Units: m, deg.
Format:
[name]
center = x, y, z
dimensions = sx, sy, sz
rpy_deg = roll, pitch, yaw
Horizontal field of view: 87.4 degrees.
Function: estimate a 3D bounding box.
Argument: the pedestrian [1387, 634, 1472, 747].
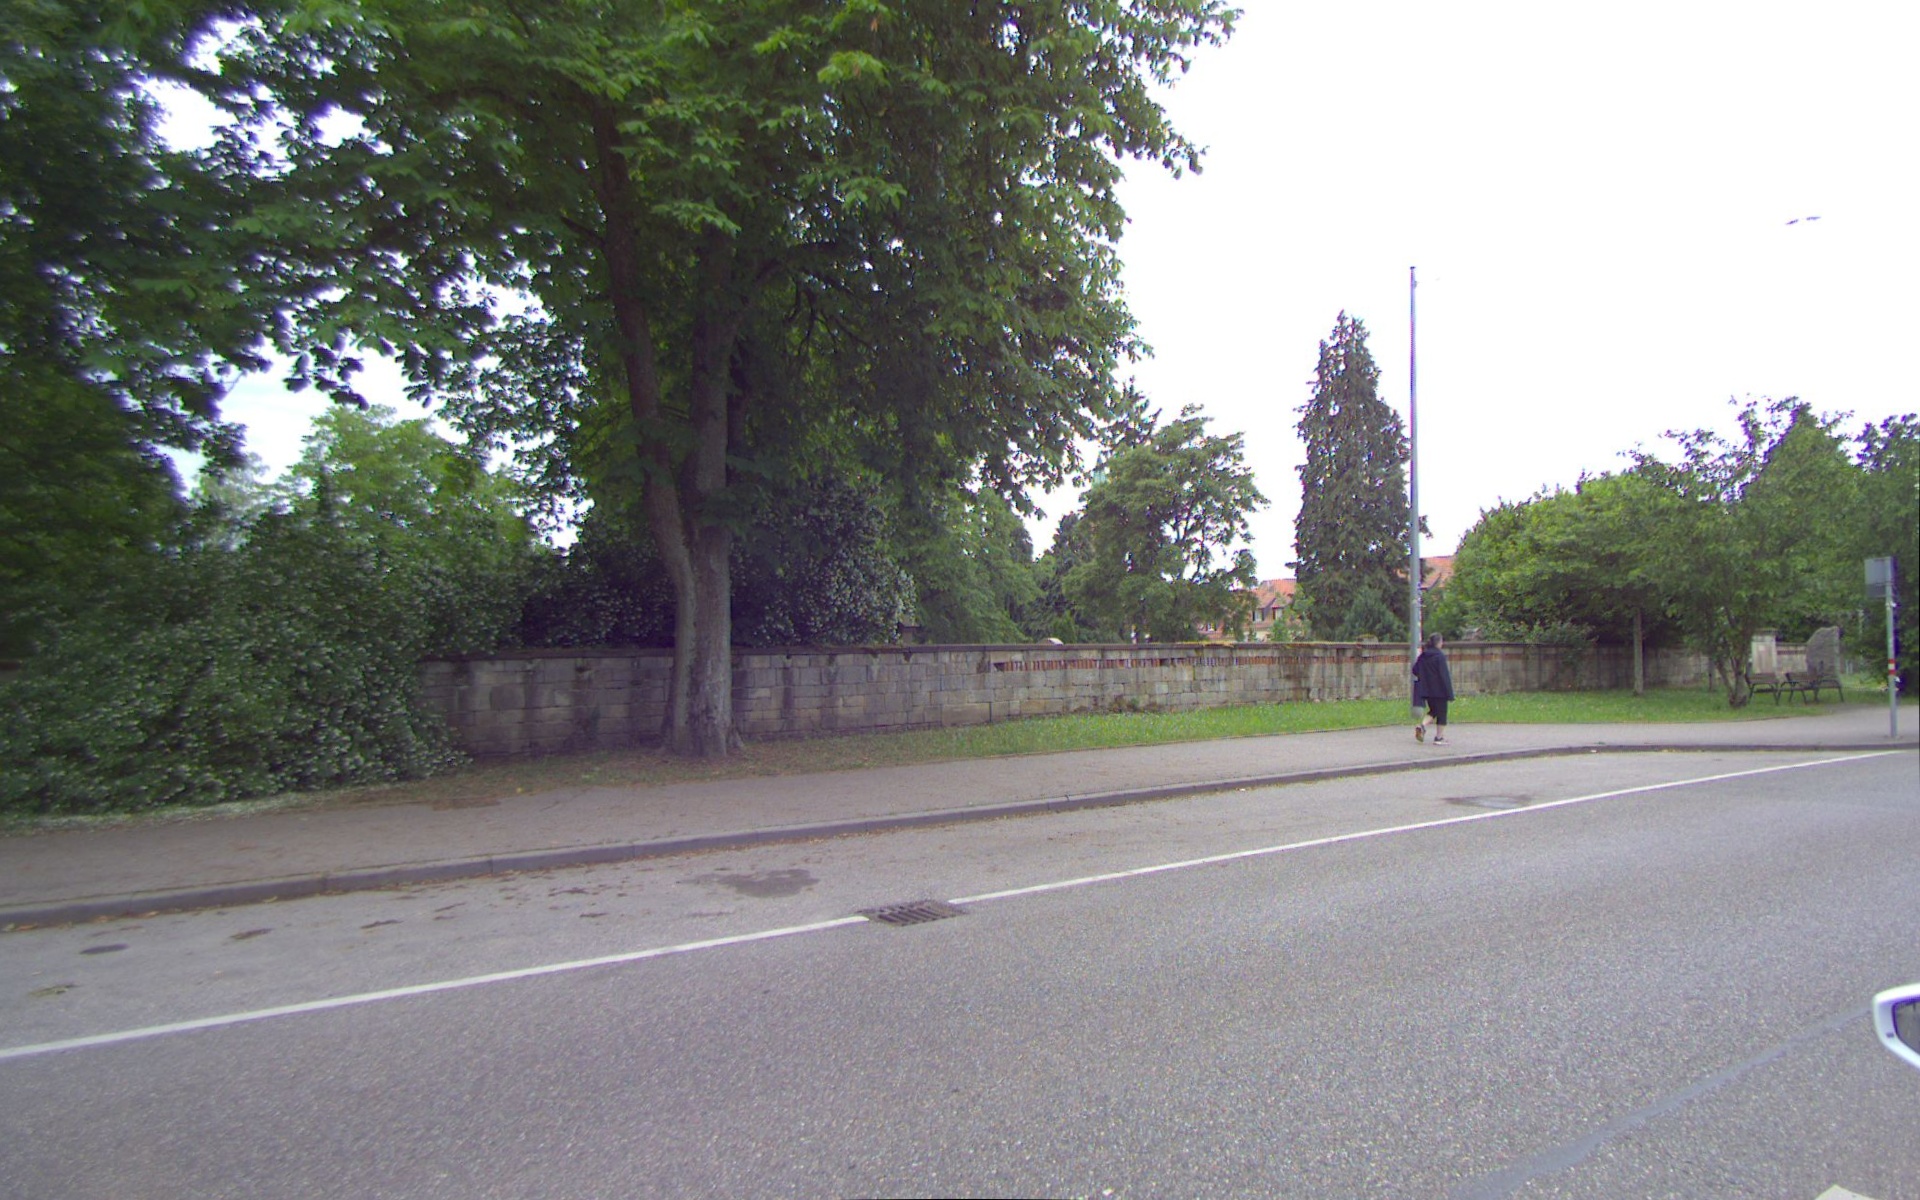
[pedestrian]
center = 6.948, 1.311, 14.873
dimensions = 0.955, 1.599, 0.745
rpy_deg = 1, -1, -30
